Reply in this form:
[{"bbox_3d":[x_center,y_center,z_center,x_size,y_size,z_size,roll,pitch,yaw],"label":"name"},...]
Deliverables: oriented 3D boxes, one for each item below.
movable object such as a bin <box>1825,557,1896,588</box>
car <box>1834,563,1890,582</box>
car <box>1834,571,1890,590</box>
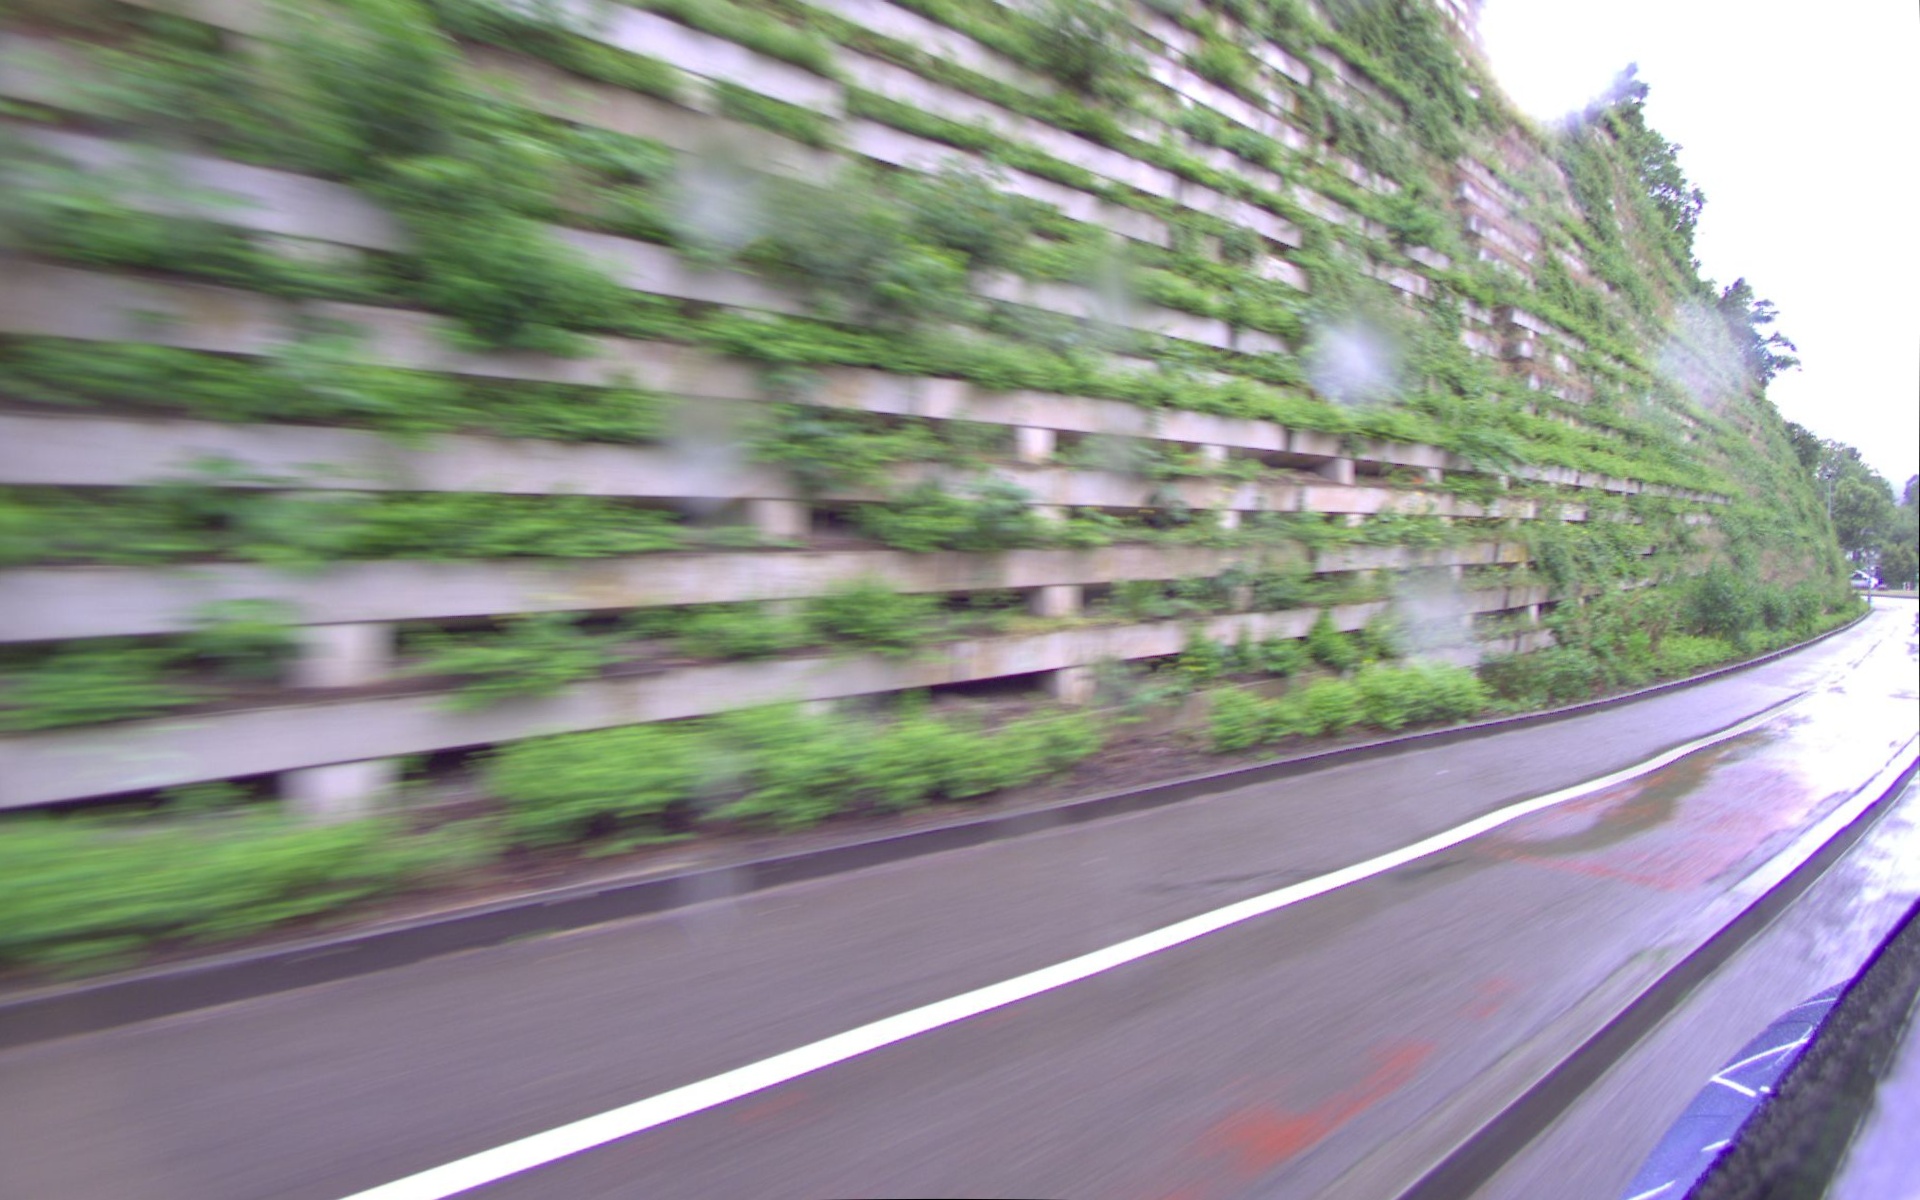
[{"bbox_3d":[86.343,-2.701,97.148,2.274,2.718,5.690,3,3,9],"label":"movable object such as a bin"},{"bbox_3d":[98.298,-3.047,110.344,1.890,1.786,4.382,-2,6,-44],"label":"car"},{"bbox_3d":[90.273,-1.949,101.332,1.643,1.592,3.992,-2,6,-45],"label":"car"}]
